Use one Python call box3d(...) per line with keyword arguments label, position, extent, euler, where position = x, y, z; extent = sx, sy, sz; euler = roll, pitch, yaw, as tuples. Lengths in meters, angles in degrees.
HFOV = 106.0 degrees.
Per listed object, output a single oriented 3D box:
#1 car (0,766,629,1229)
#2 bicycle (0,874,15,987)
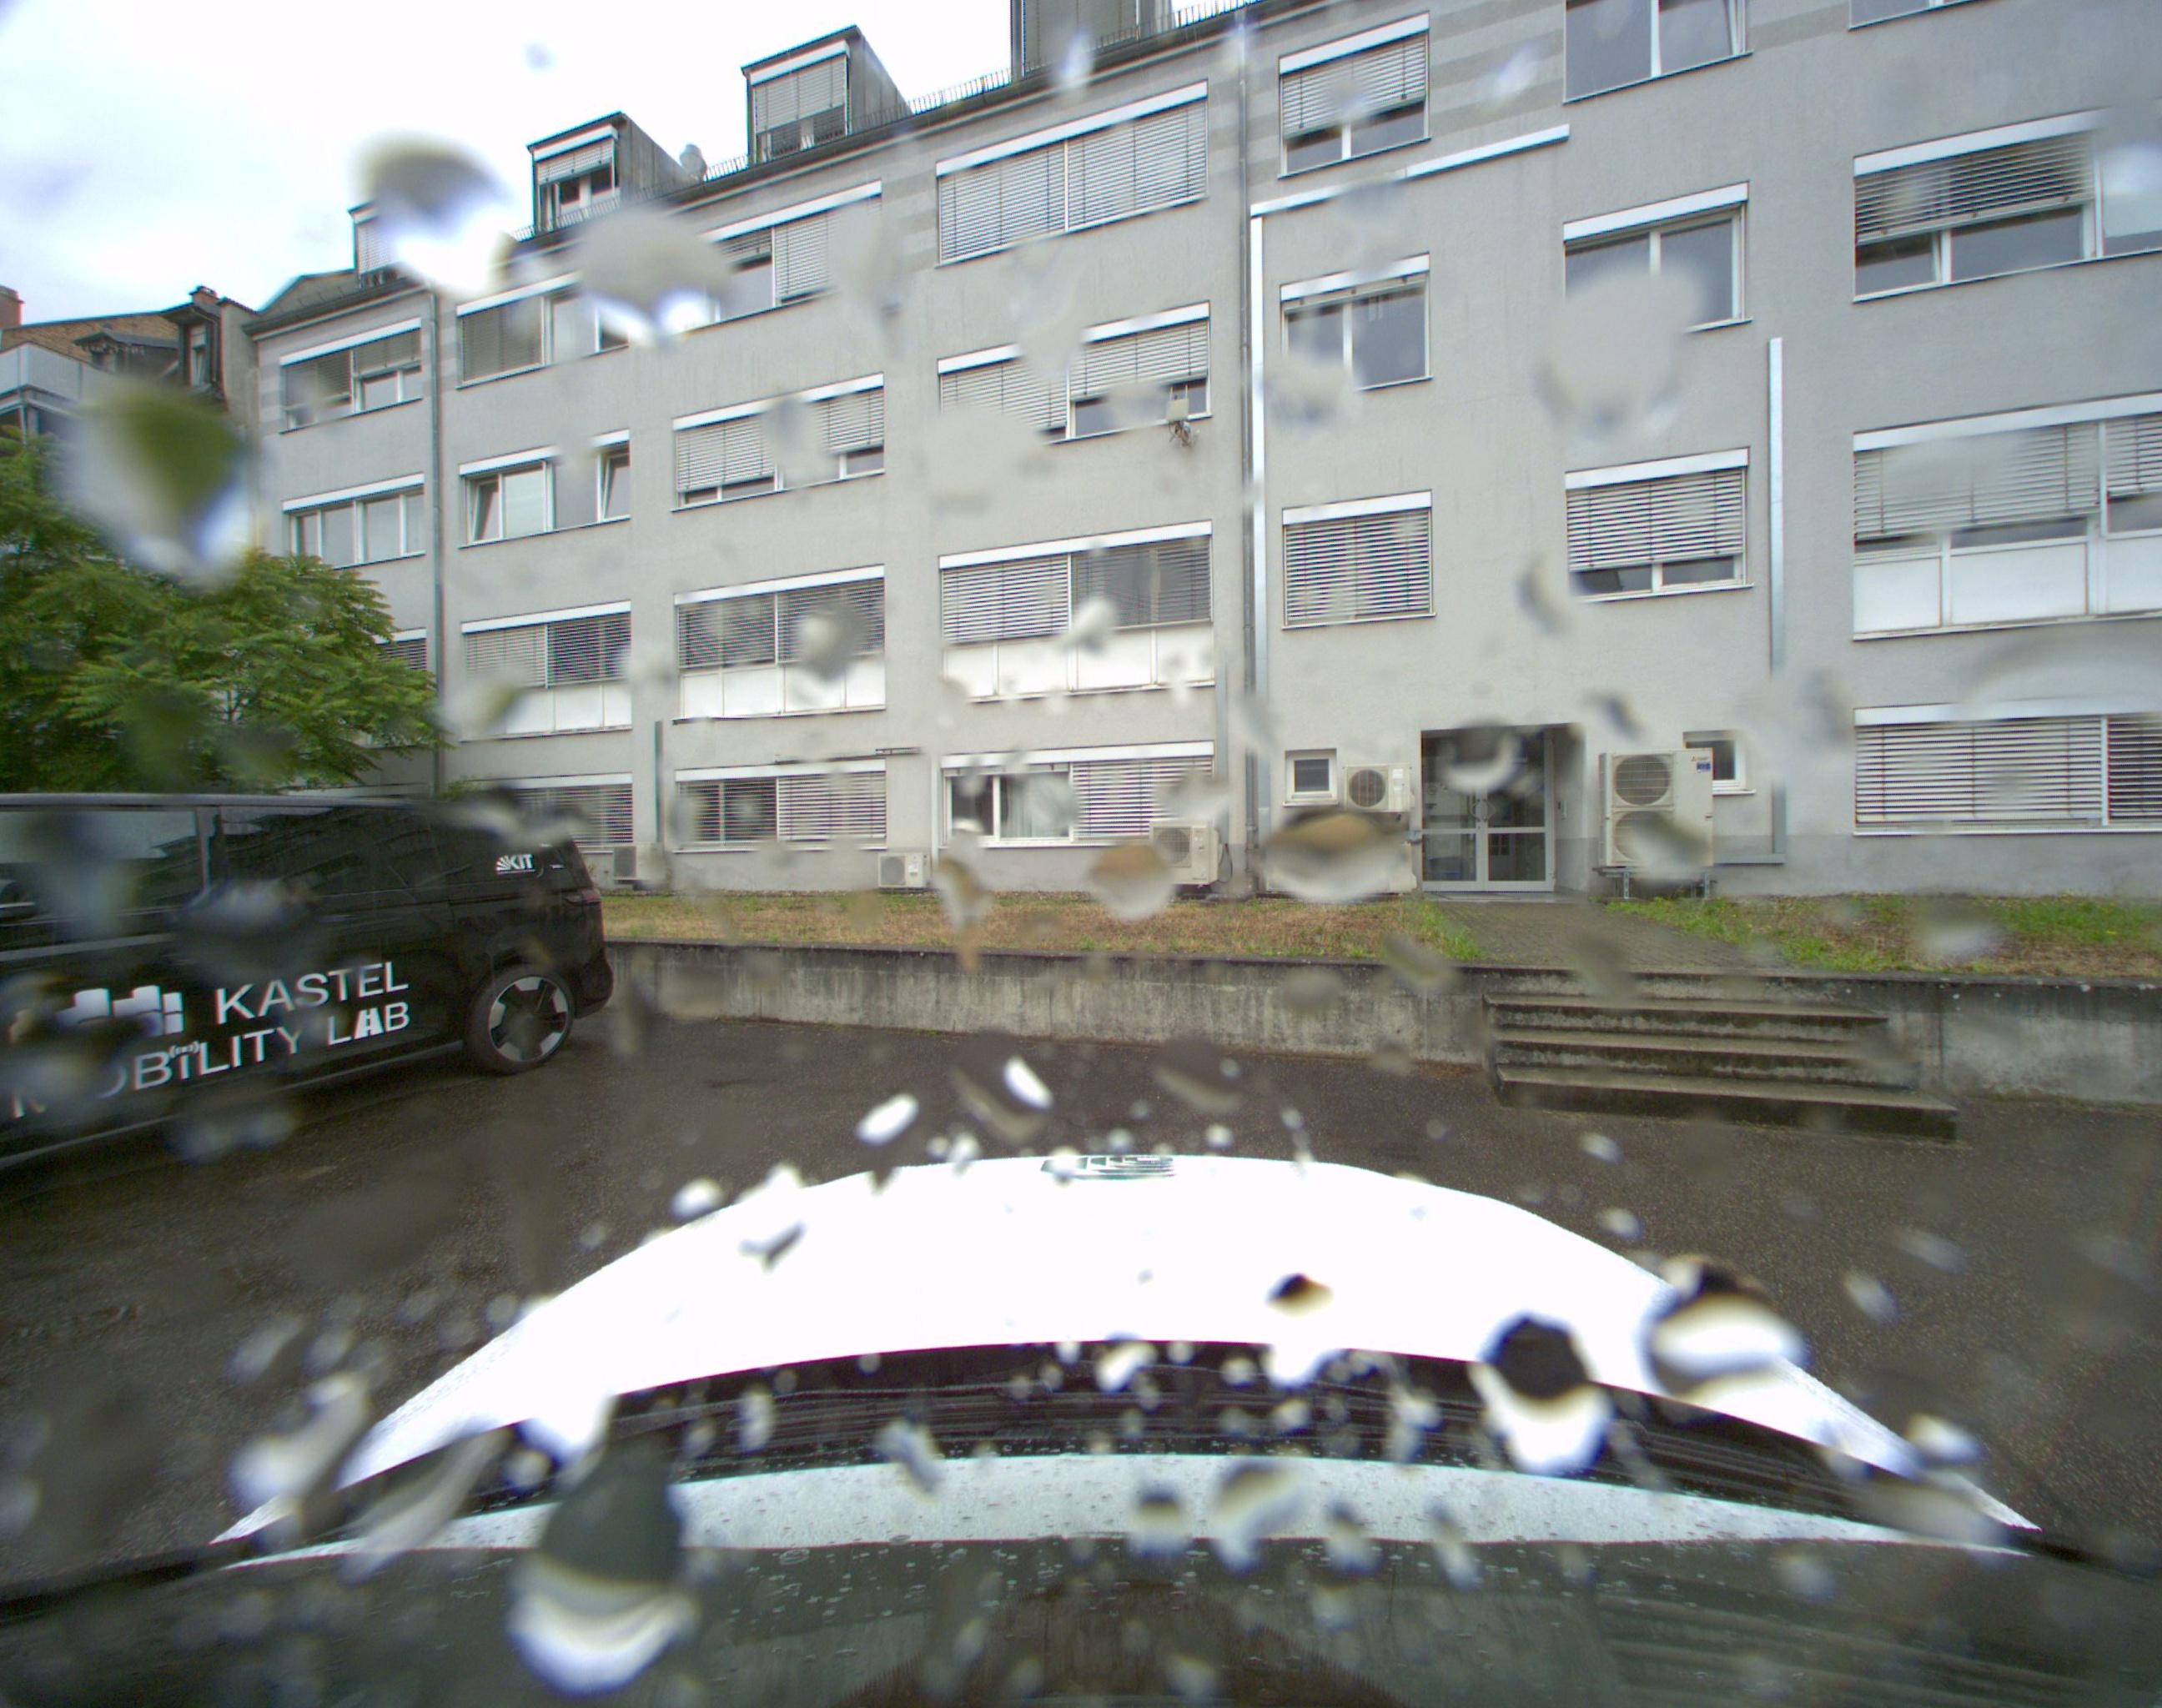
box3d(label="car", position=(-5.168, 0.599, 4.439), extent=(2.024, 1.897, 4.543), euler=(-2, 0, 17))
box3d(label="bicycle", position=(-12.753, 0.872, 7.657), extent=(0.623, 1.241, 3.242), euler=(-2, 0, 22))
